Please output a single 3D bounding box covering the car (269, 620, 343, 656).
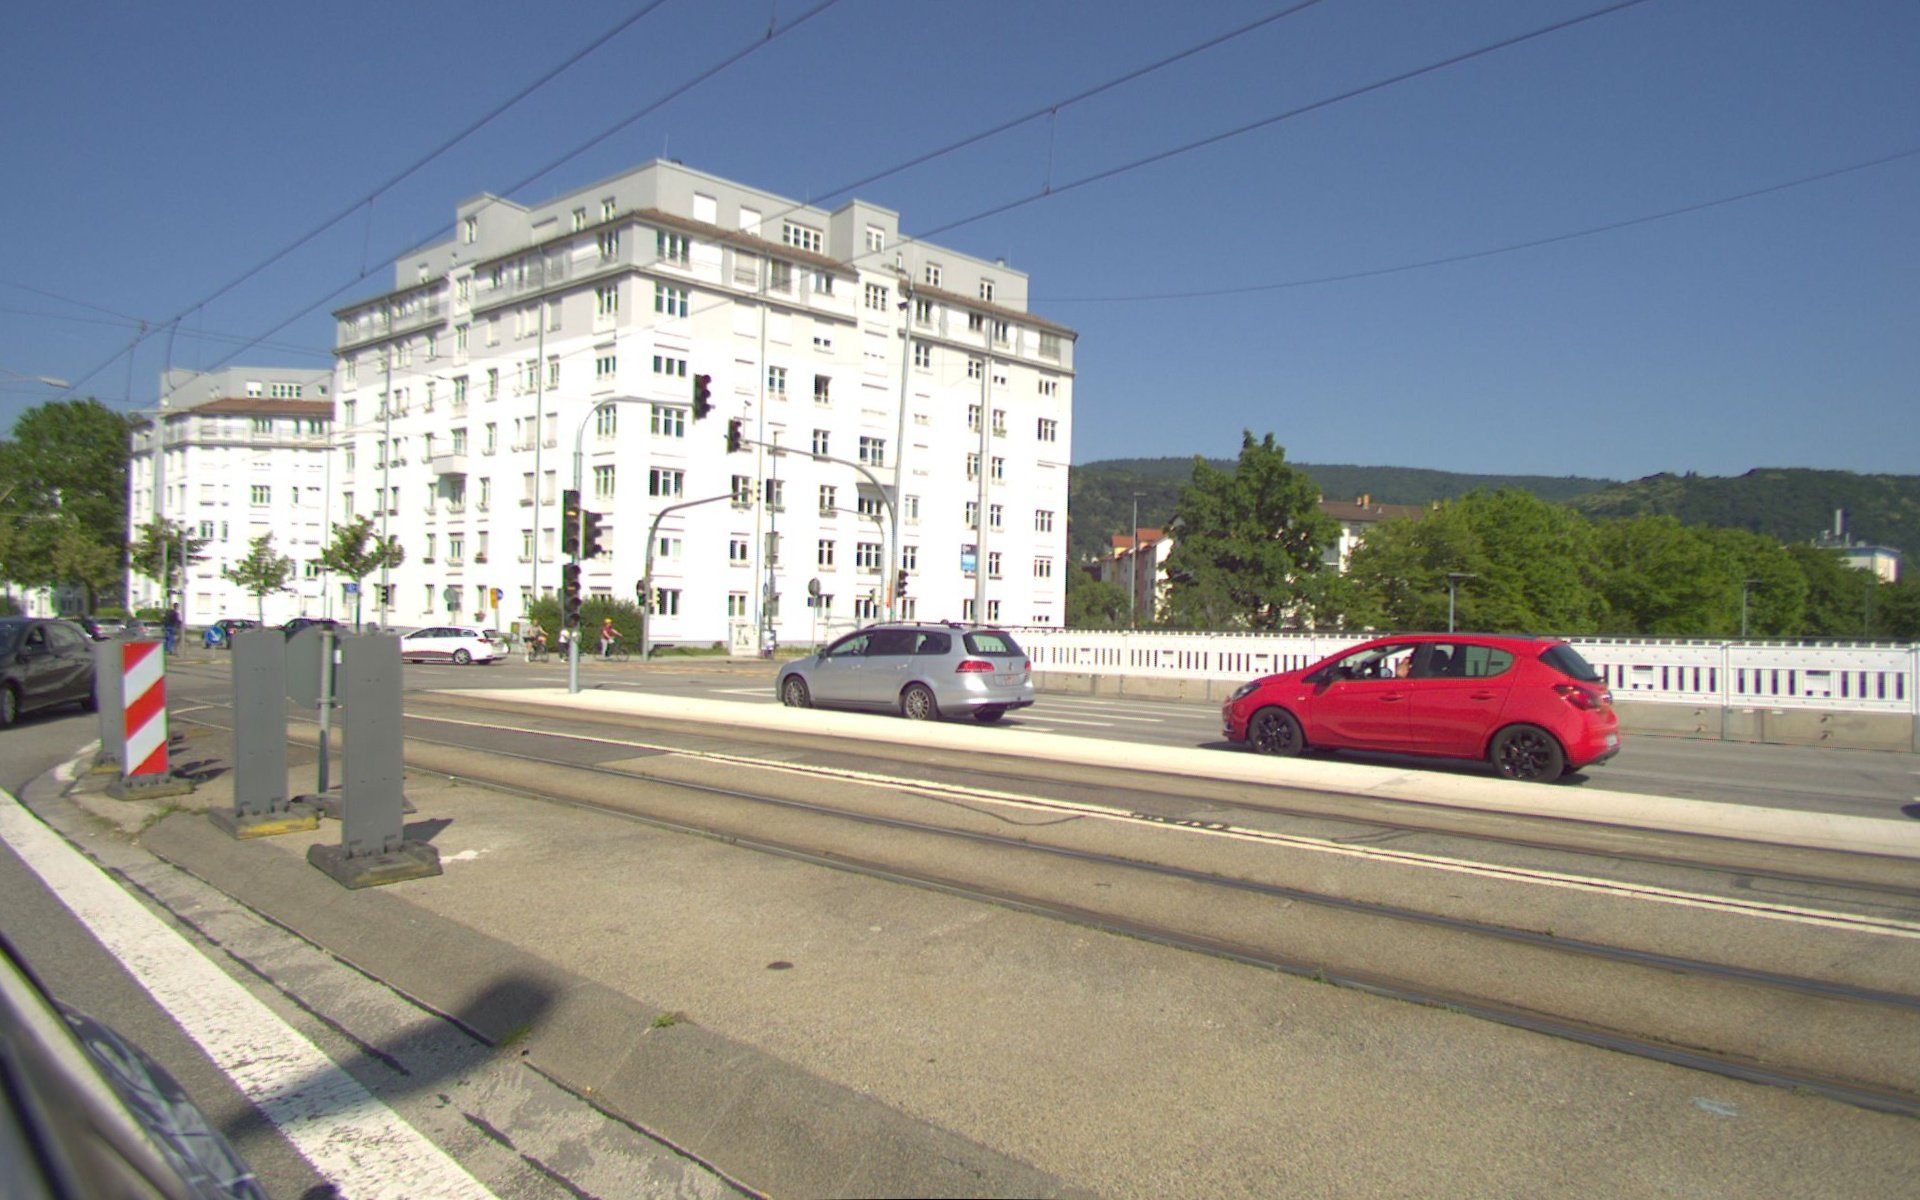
[{"bbox_3d":[-31.384,1.780,48.557,3.732,1.650,1.719,-1,-1,36],"label":"car"}]

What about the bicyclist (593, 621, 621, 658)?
[{"bbox_3d":[-14.470,1.619,41.524,0.912,1.489,0.593,0,-2,25],"label":"bicyclist"}]

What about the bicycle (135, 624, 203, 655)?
[{"bbox_3d":[-28.425,1.403,36.395,1.881,1.028,0.823,-1,-1,-38],"label":"bicycle"}]

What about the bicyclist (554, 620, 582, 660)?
[{"bbox_3d":[-15.986,1.622,41.256,0.913,1.591,0.618,0,-1,28],"label":"bicyclist"}]

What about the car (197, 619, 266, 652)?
[{"bbox_3d":[-38.477,1.843,53.436,3.730,1.650,1.720,-1,-1,34],"label":"car"}]

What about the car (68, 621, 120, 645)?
[{"bbox_3d":[-55.766,2.086,65.155,3.732,1.496,1.719,-1,-1,36],"label":"car"}]

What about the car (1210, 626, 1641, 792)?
[{"bbox_3d":[4.881,1.041,10.931,3.977,1.448,1.518,-1,-3,41],"label":"car"}]

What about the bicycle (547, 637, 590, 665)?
[{"bbox_3d":[-15.960,2.074,41.230,1.778,1.107,0.622,0,-1,28],"label":"bicycle"}]

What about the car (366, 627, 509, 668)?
[{"bbox_3d":[-19.204,1.724,37.315,4.424,1.423,1.702,0,-1,1],"label":"car"}]

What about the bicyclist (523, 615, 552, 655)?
[{"bbox_3d":[-17.097,1.416,40.918,0.913,1.602,0.618,0,-1,28],"label":"bicyclist"}]

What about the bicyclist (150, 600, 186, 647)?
[{"bbox_3d":[-28.473,0.847,36.384,0.993,1.666,0.811,0,-2,-38],"label":"bicyclist"}]

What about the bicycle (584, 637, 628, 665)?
[{"bbox_3d":[-14.531,2.096,41.540,1.804,1.108,0.599,0,-2,25],"label":"bicycle"}]

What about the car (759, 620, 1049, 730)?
[{"bbox_3d":[-0.992,1.074,15.650,4.640,1.448,1.621,-1,-3,41],"label":"car"}]

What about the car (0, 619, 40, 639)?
[{"bbox_3d":[-71.872,2.202,77.208,3.732,1.496,1.719,-1,-1,36],"label":"car"}]

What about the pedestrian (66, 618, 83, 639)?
[{"bbox_3d":[-72.799,2.364,83.215,0.909,1.678,0.847,-1,-3,41],"label":"pedestrian"}]

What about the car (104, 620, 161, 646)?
[{"bbox_3d":[-49.203,1.928,60.145,3.732,1.496,1.719,-1,-1,36],"label":"car"}]

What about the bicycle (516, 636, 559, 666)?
[{"bbox_3d":[-17.059,2.049,40.886,1.778,1.107,0.612,1,-1,28],"label":"bicycle"}]

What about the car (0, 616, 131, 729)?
[{"bbox_3d":[-13.471,0.958,13.913,1.674,1.419,4.637,-1,0,-19],"label":"car"}]

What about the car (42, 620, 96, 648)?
[{"bbox_3d":[-51.242,1.943,58.177,3.655,1.504,1.575,-1,-3,37],"label":"car"}]
